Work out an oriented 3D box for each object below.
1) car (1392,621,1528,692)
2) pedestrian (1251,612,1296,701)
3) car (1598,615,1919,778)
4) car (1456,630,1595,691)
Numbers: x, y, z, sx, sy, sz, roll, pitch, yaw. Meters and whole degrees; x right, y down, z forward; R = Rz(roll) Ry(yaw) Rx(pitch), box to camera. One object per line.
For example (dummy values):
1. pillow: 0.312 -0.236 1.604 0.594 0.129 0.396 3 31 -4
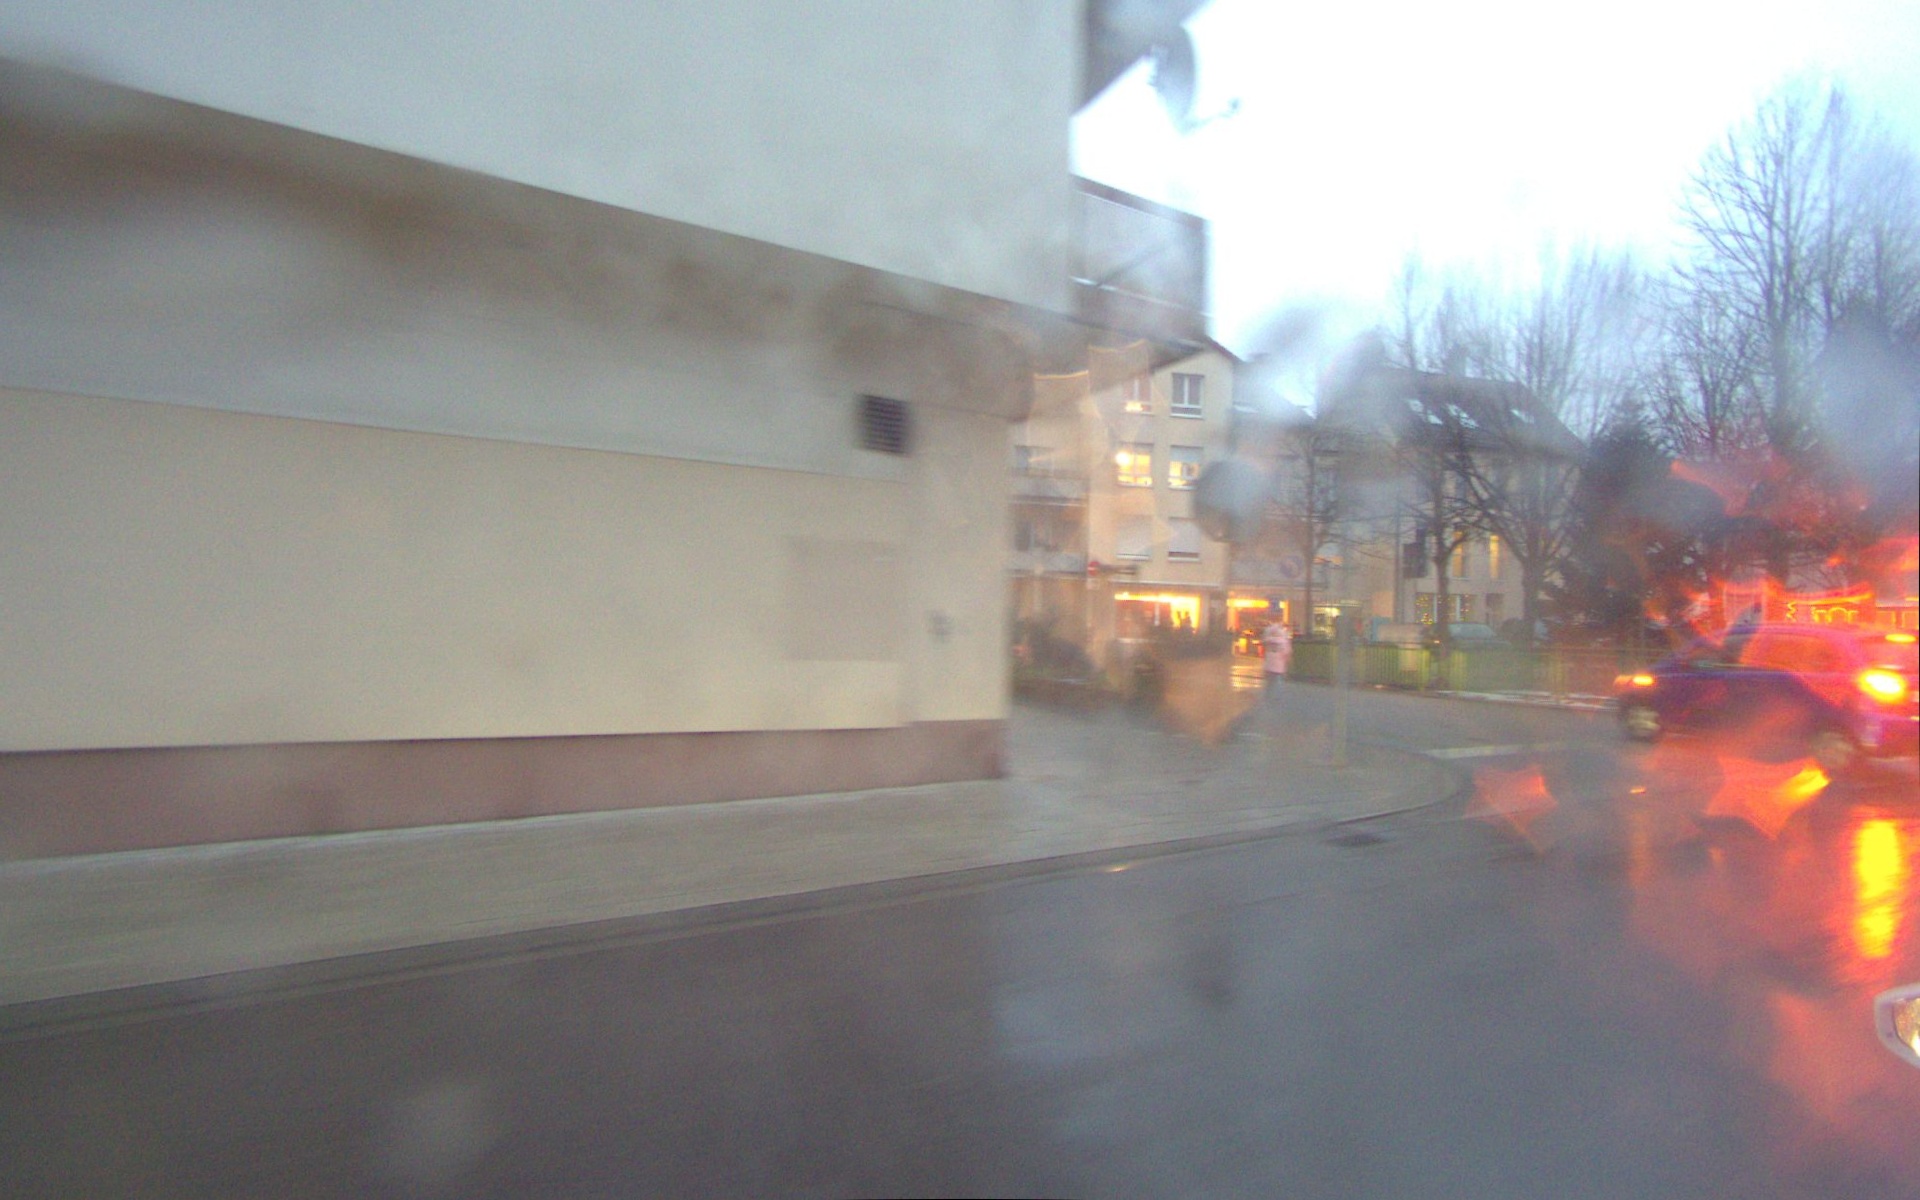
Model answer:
1. car: 15.568 1.716 31.499 1.786 2.015 3.993 1 -1 -10
2. pedestrian: 5.368 0.953 17.210 0.638 1.478 0.650 1 0 24
3. car: 9.181 0.964 11.309 1.613 1.501 3.266 1 0 -8
4. car: 18.166 1.908 32.498 1.786 1.753 3.993 1 -1 -10
